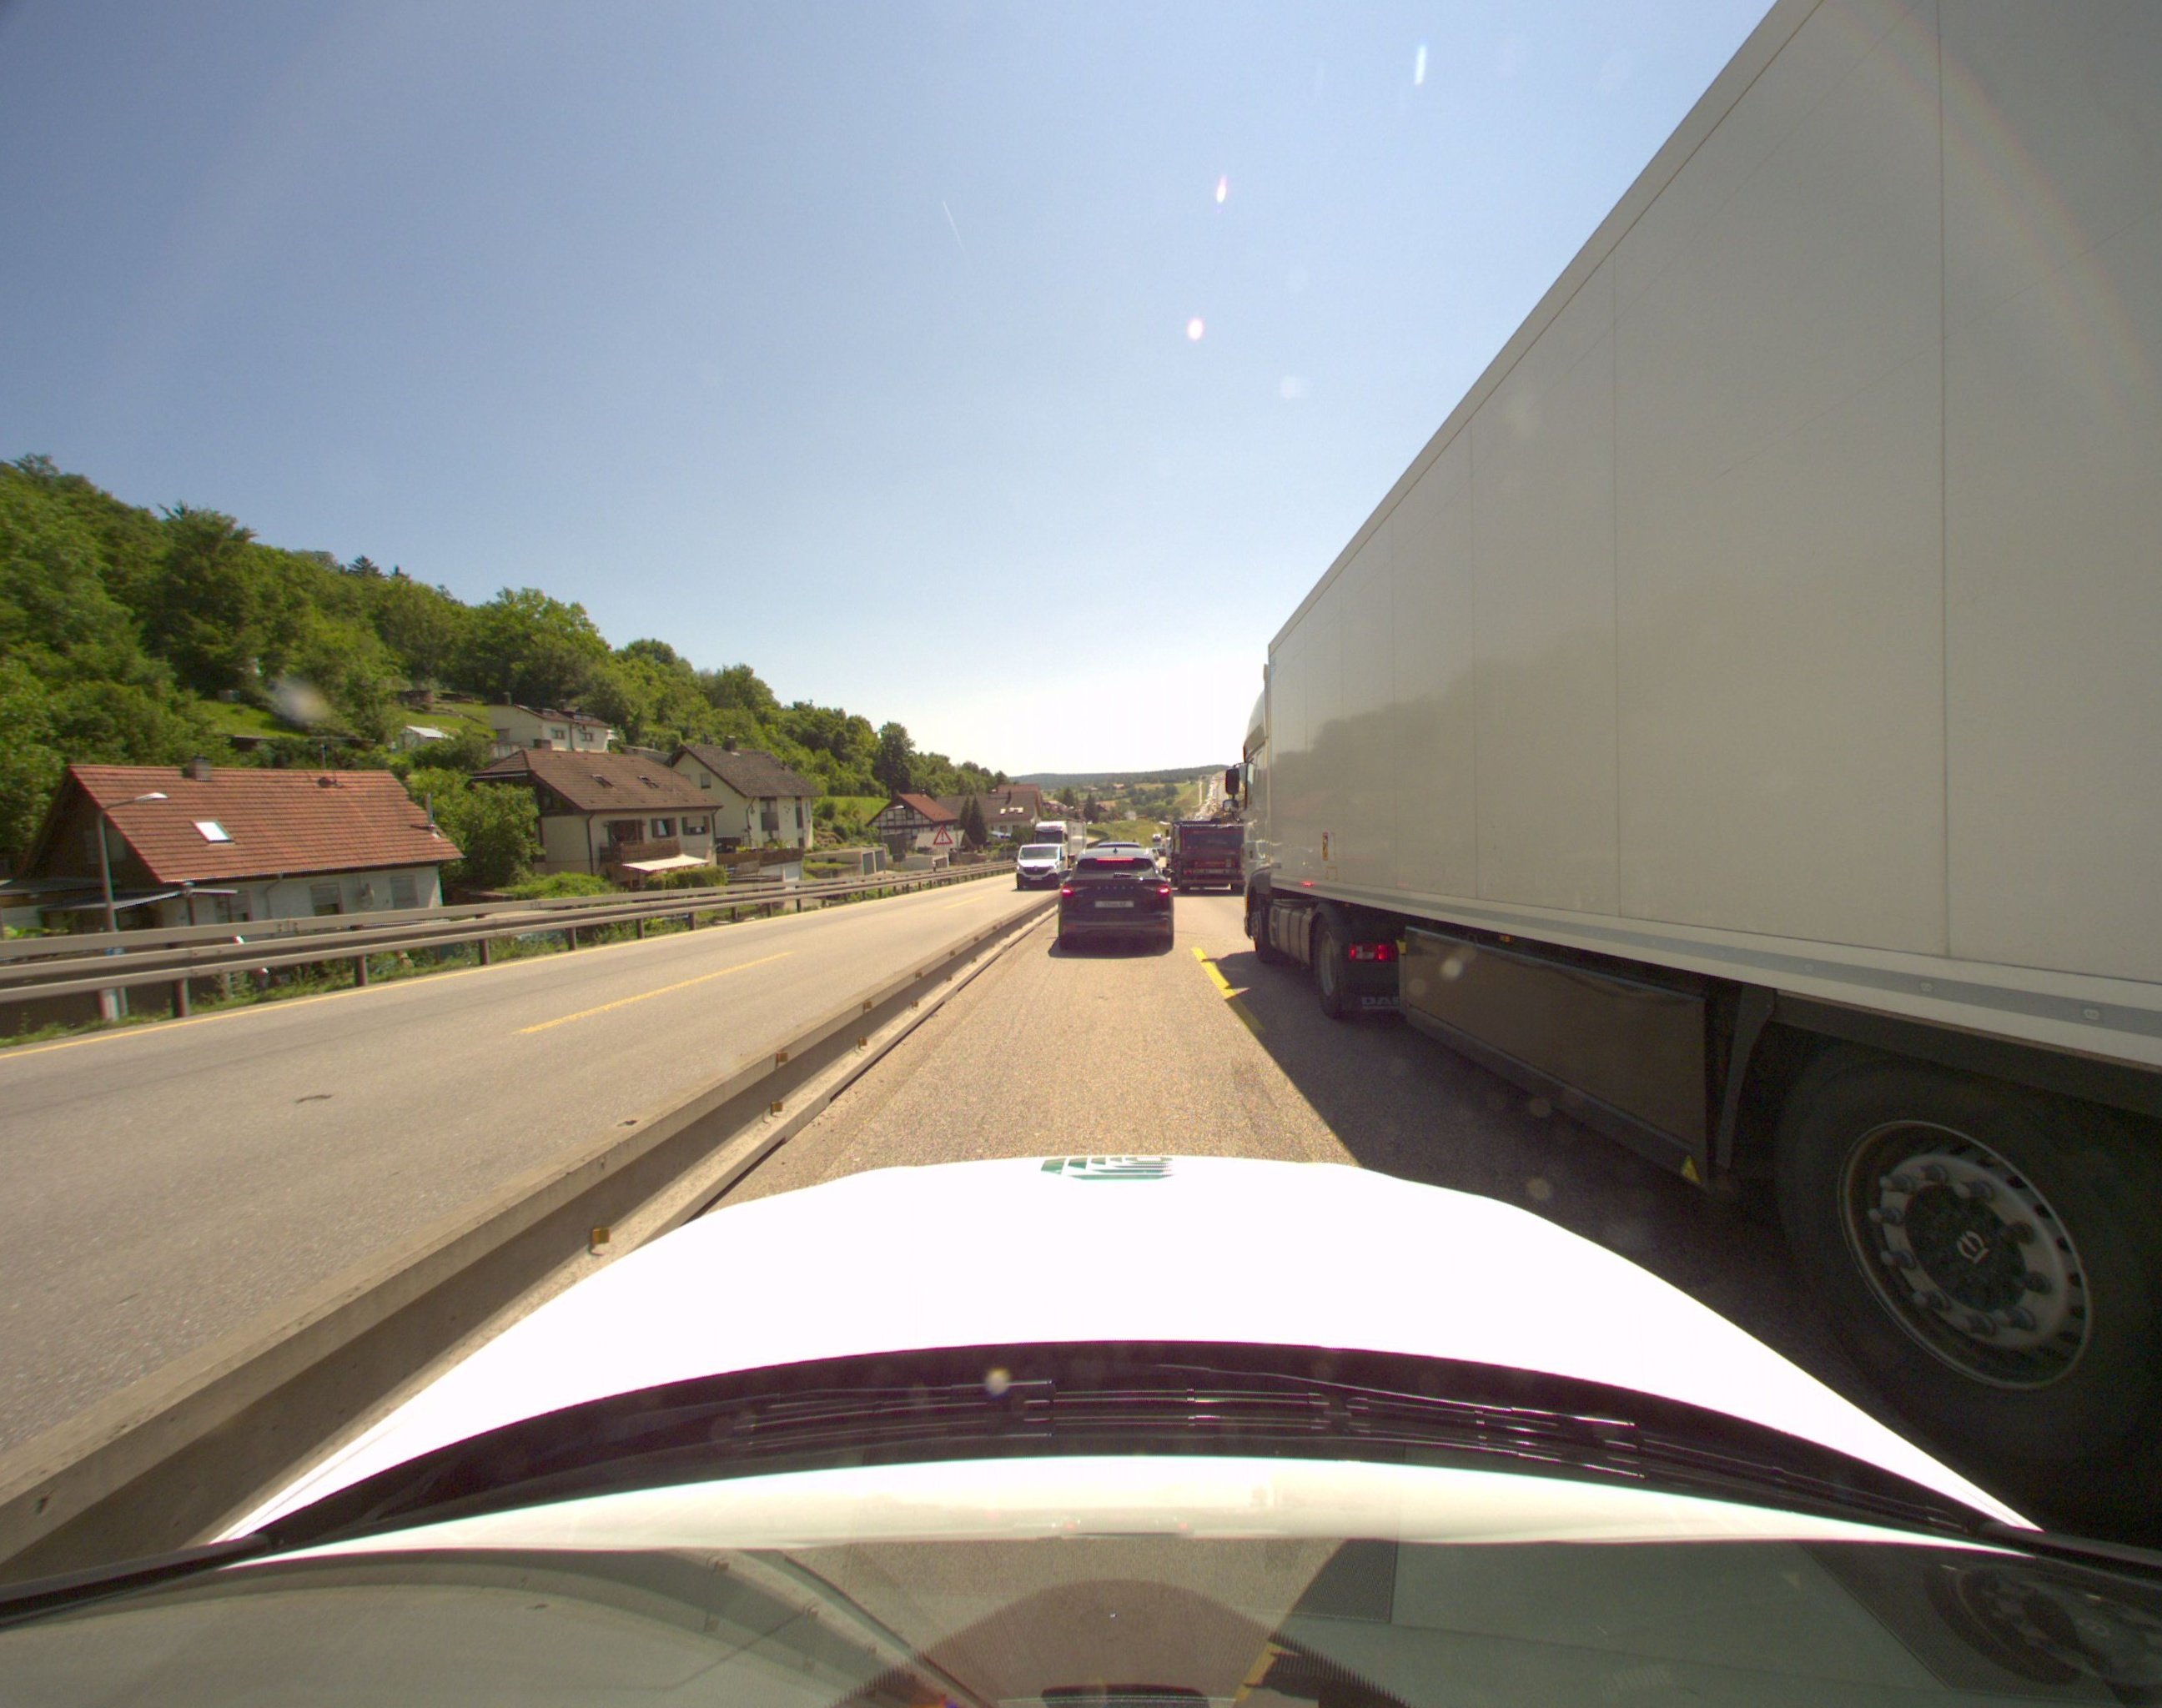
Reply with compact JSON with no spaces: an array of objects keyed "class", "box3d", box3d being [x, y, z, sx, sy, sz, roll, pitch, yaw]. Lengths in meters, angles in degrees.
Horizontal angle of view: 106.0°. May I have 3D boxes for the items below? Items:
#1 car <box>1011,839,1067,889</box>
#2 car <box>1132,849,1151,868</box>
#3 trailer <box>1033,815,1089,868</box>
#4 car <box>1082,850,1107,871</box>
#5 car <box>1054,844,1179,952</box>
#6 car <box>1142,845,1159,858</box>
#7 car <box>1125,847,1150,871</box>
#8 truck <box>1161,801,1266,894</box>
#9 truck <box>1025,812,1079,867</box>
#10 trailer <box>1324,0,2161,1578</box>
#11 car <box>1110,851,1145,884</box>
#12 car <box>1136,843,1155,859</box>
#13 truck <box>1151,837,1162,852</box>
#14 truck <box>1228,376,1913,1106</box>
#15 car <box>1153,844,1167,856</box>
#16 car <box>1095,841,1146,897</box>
[{"class":"car","box3d":[-1.799,0.428,36.360,1.986,2.011,4.860,-2,-1,2]},{"class":"car","box3d":[5.507,0.403,74.376,1.699,1.622,4.005,0,1,4]},{"class":"trailer","box3d":[-1.586,-0.982,74.683,3.235,4.378,14.082,0,0,6]},{"class":"car","box3d":[1.080,0.492,64.171,1.838,1.574,4.002,-1,0,2]},{"class":"car","box3d":[0.544,0.665,13.929,1.836,1.586,3.907,0,0,1]},{"class":"car","box3d":[8.449,-0.282,99.194,1.984,1.585,3.842,0,0,5]},{"class":"car","box3d":[4.083,0.359,58.611,1.699,1.622,4.005,0,1,4]},{"class":"truck","box3d":[5.198,-0.184,34.509,3.181,3.191,12.822,0,0,4]},{"class":"truck","box3d":[-2.308,-1.099,68.526,3.286,4.362,8.315,0,0,6]},{"class":"trailer","box3d":[3.183,-0.773,1.255,2.522,4.127,11.552,0,0,2]},{"class":"car","box3d":[2.492,0.682,44.250,1.701,1.622,4.001,0,1,1]},{"class":"car","box3d":[6.769,-0.322,85.488,1.984,1.585,3.842,0,0,5]},{"class":"truck","box3d":[20.935,-2.647,226.259,2.737,4.283,4.968,0,1,8]},{"class":"truck","box3d":[3.431,-0.605,8.615,2.504,4.025,8.241,0,0,2]},{"class":"car","box3d":[11.533,-0.530,118.722,1.691,1.728,3.846,0,0,9]},{"class":"car","box3d":[1.377,0.485,29.580,1.701,1.881,4.001,0,1,1]}]
